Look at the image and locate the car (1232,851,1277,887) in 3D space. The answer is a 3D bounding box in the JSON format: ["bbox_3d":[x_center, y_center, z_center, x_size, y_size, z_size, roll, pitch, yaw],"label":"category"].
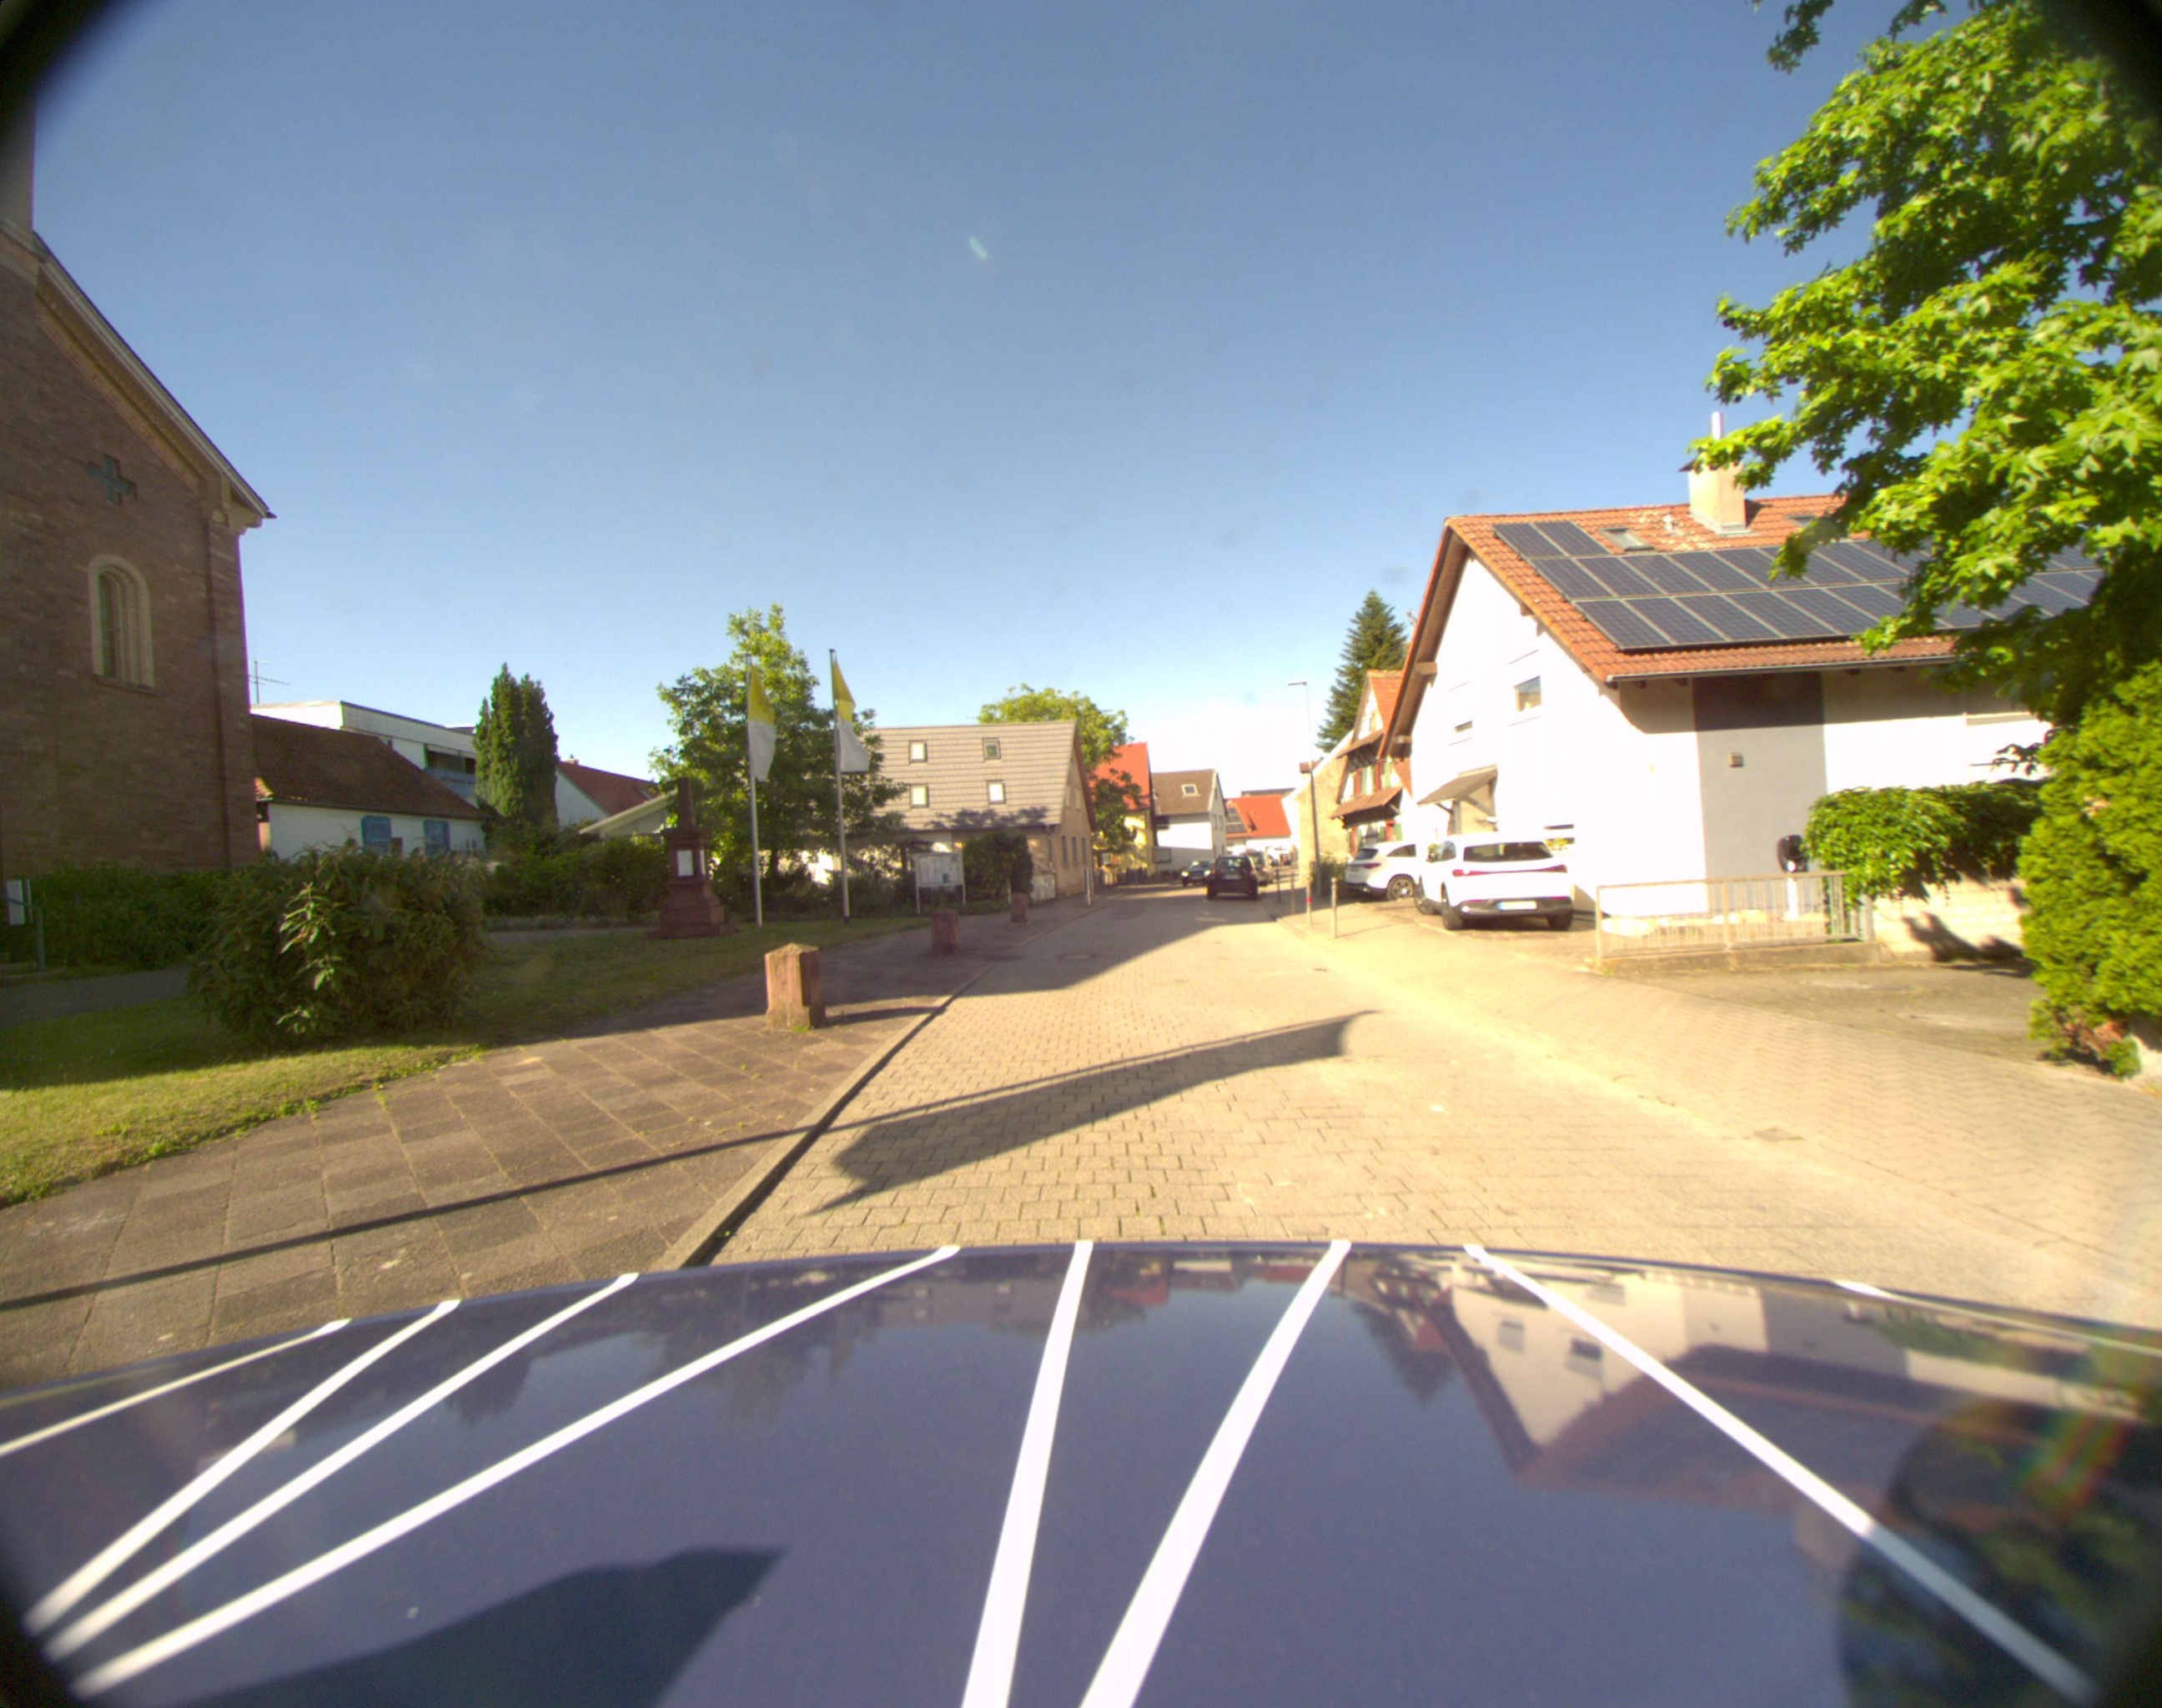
[{"bbox_3d":[9.018,0.736,39.237,1.834,1.779,4.359,0,0,19],"label":"car"}]

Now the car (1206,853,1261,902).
[{"bbox_3d":[5.754,0.808,28.414,1.835,1.661,4.357,-1,0,13],"label":"car"}]

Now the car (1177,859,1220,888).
[{"bbox_3d":[6.678,1.067,42.820,1.805,1.469,4.349,-1,0,17],"label":"car"}]

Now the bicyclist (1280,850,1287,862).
[{"bbox_3d":[21.120,0.219,79.251,0.581,1.312,0.609,-1,0,22],"label":"bicyclist"}]

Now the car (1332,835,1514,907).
[{"bbox_3d":[9.320,0.458,20.964,3.997,1.579,2.000,-5,-1,-2],"label":"car"}]

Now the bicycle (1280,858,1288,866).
[{"bbox_3d":[21.158,0.811,79.245,0.581,0.757,1.802,-1,0,23],"label":"bicycle"}]

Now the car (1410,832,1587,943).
[{"bbox_3d":[7.281,0.500,13.756,1.820,1.586,4.450,-4,0,16],"label":"car"}]
